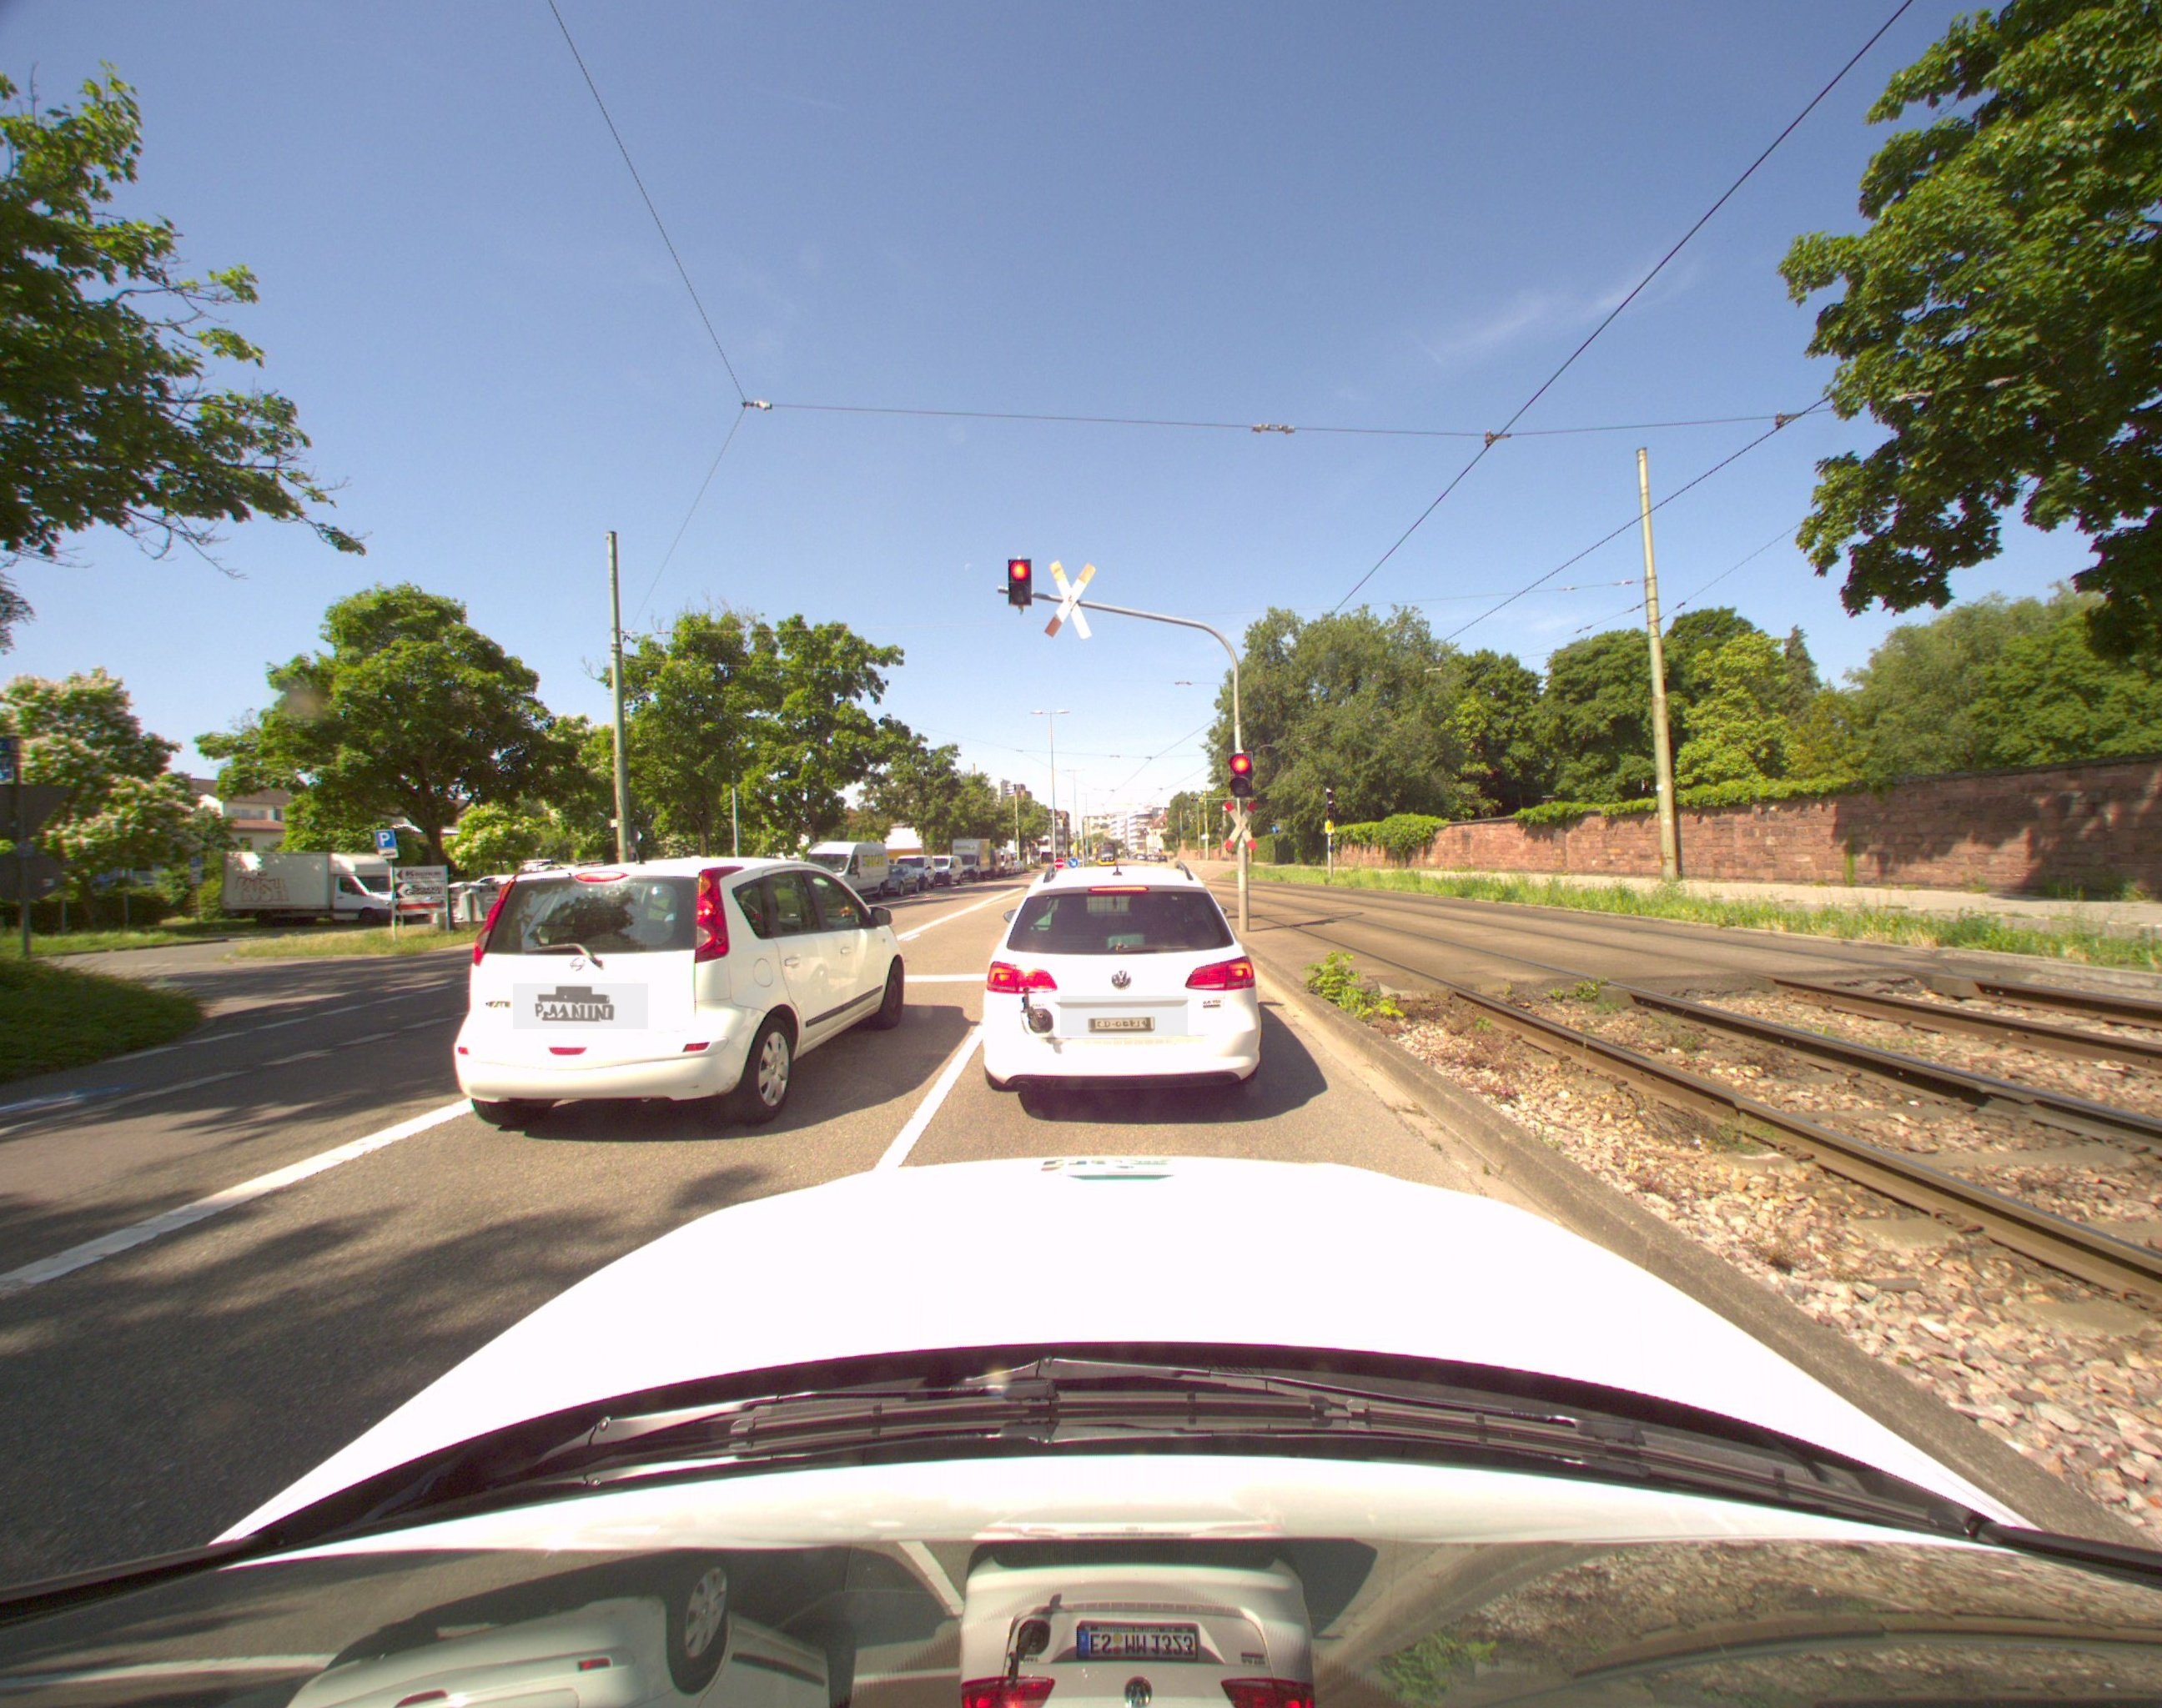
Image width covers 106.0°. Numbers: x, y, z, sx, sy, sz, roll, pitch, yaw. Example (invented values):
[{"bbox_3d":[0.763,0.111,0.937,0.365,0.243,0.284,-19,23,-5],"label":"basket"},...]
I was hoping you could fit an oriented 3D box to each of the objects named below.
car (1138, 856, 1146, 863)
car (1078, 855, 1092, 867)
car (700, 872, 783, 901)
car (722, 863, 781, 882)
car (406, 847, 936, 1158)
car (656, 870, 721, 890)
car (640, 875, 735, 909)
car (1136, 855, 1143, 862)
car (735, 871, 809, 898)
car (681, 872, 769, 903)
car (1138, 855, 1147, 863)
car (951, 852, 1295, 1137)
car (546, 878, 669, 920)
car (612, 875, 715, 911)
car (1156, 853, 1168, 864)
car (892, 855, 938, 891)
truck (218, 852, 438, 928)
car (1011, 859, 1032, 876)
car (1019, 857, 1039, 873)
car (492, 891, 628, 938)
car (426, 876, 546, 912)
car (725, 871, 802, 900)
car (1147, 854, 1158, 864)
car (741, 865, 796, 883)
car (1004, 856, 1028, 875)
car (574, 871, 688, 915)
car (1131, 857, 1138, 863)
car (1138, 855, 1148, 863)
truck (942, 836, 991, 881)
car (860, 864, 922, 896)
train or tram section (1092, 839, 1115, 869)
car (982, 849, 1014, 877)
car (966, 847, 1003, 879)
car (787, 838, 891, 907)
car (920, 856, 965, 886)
[{"bbox_3d":[16.113,1.478,215.563,1.857,1.868,5.063,0,0,1],"label":"car"},{"bbox_3d":[0.552,0.943,112.078,1.698,1.473,4.593,-3,0,3],"label":"car"},{"bbox_3d":[-19.558,1.856,47.067,3.977,1.415,1.729,-4,-1,-3],"label":"car"},{"bbox_3d":[-31.521,1.786,77.923,4.780,1.787,2.062,0,-1,-3],"label":"car"},{"bbox_3d":[-2.496,0.758,6.407,1.655,1.547,4.550,-1,0,3],"label":"car"},{"bbox_3d":[-35.130,2.312,72.986,4.780,1.787,2.062,0,-1,-3],"label":"car"},{"bbox_3d":[-20.339,1.958,42.213,3.977,1.415,1.729,-4,-1,-3],"label":"car"},{"bbox_3d":[17.009,1.338,235.919,1.857,1.868,5.063,0,0,1],"label":"car"},{"bbox_3d":[-19.739,1.961,52.190,3.977,1.415,1.729,-4,-1,-3],"label":"car"},{"bbox_3d":[-19.490,1.808,44.733,3.977,1.415,1.729,-4,-1,-3],"label":"car"},{"bbox_3d":[14.513,1.283,193.052,1.857,1.868,5.063,0,0,1],"label":"car"},{"bbox_3d":[0.284,0.746,6.301,1.756,1.430,4.002,-3,0,2],"label":"car"},{"bbox_3d":[-19.626,1.842,33.863,3.977,1.415,1.729,-4,-1,-3],"label":"car"},{"bbox_3d":[-20.250,1.884,39.606,3.977,1.415,1.729,-4,-1,-3],"label":"car"},{"bbox_3d":[14.362,0.744,144.605,1.857,1.868,5.063,0,0,1],"label":"car"},{"bbox_3d":[-9.239,1.018,45.678,1.859,1.868,5.068,0,0,-3],"label":"car"},{"bbox_3d":[-32.401,1.505,35.219,6.978,3.110,2.677,0,0,0],"label":"truck"},{"bbox_3d":[-6.694,1.460,92.022,1.856,1.868,5.415,0,0,2],"label":"car"},{"bbox_3d":[-6.307,1.305,98.935,1.856,1.868,5.415,0,0,2],"label":"car"},{"bbox_3d":[-19.860,2.303,31.170,3.977,1.415,1.729,-4,-1,-3],"label":"car"},{"bbox_3d":[-31.720,2.128,43.531,4.780,1.787,2.062,0,-1,-3],"label":"car"},{"bbox_3d":[-19.410,1.914,49.883,3.977,1.415,1.729,-4,-1,-3],"label":"car"},{"bbox_3d":[14.026,0.916,160.499,1.857,1.868,5.063,0,0,1],"label":"car"},{"bbox_3d":[-31.700,1.990,82.789,4.780,1.787,2.062,0,-1,-3],"label":"car"},{"bbox_3d":[-6.749,1.156,85.205,1.856,1.868,5.415,0,0,2],"label":"car"},{"bbox_3d":[-19.874,1.703,36.070,3.977,1.610,1.729,-4,-1,-3],"label":"car"},{"bbox_3d":[16.442,1.954,250.707,1.857,1.868,5.063,0,0,1],"label":"car"},{"bbox_3d":[13.514,1.097,177.190,1.857,1.868,5.063,0,0,1],"label":"car"},{"bbox_3d":[-8.430,0.336,60.691,2.411,3.150,7.001,0,0,3],"label":"truck"},{"bbox_3d":[-9.035,1.204,39.068,1.856,1.415,4.281,0,0,1],"label":"car"},{"bbox_3d":[3.231,0.022,115.533,2.860,3.855,12.396,-3,0,2],"label":"train or tram section"},{"bbox_3d":[-7.701,0.806,76.117,2.114,2.516,5.737,0,0,3],"label":"car"},{"bbox_3d":[-8.083,0.736,68.685,2.114,2.516,5.737,0,0,3],"label":"car"},{"bbox_3d":[-9.540,0.680,32.672,2.114,2.516,5.822,0,0,4],"label":"car"},{"bbox_3d":[-8.816,1.040,52.266,1.856,1.868,5.415,0,0,2],"label":"car"}]
